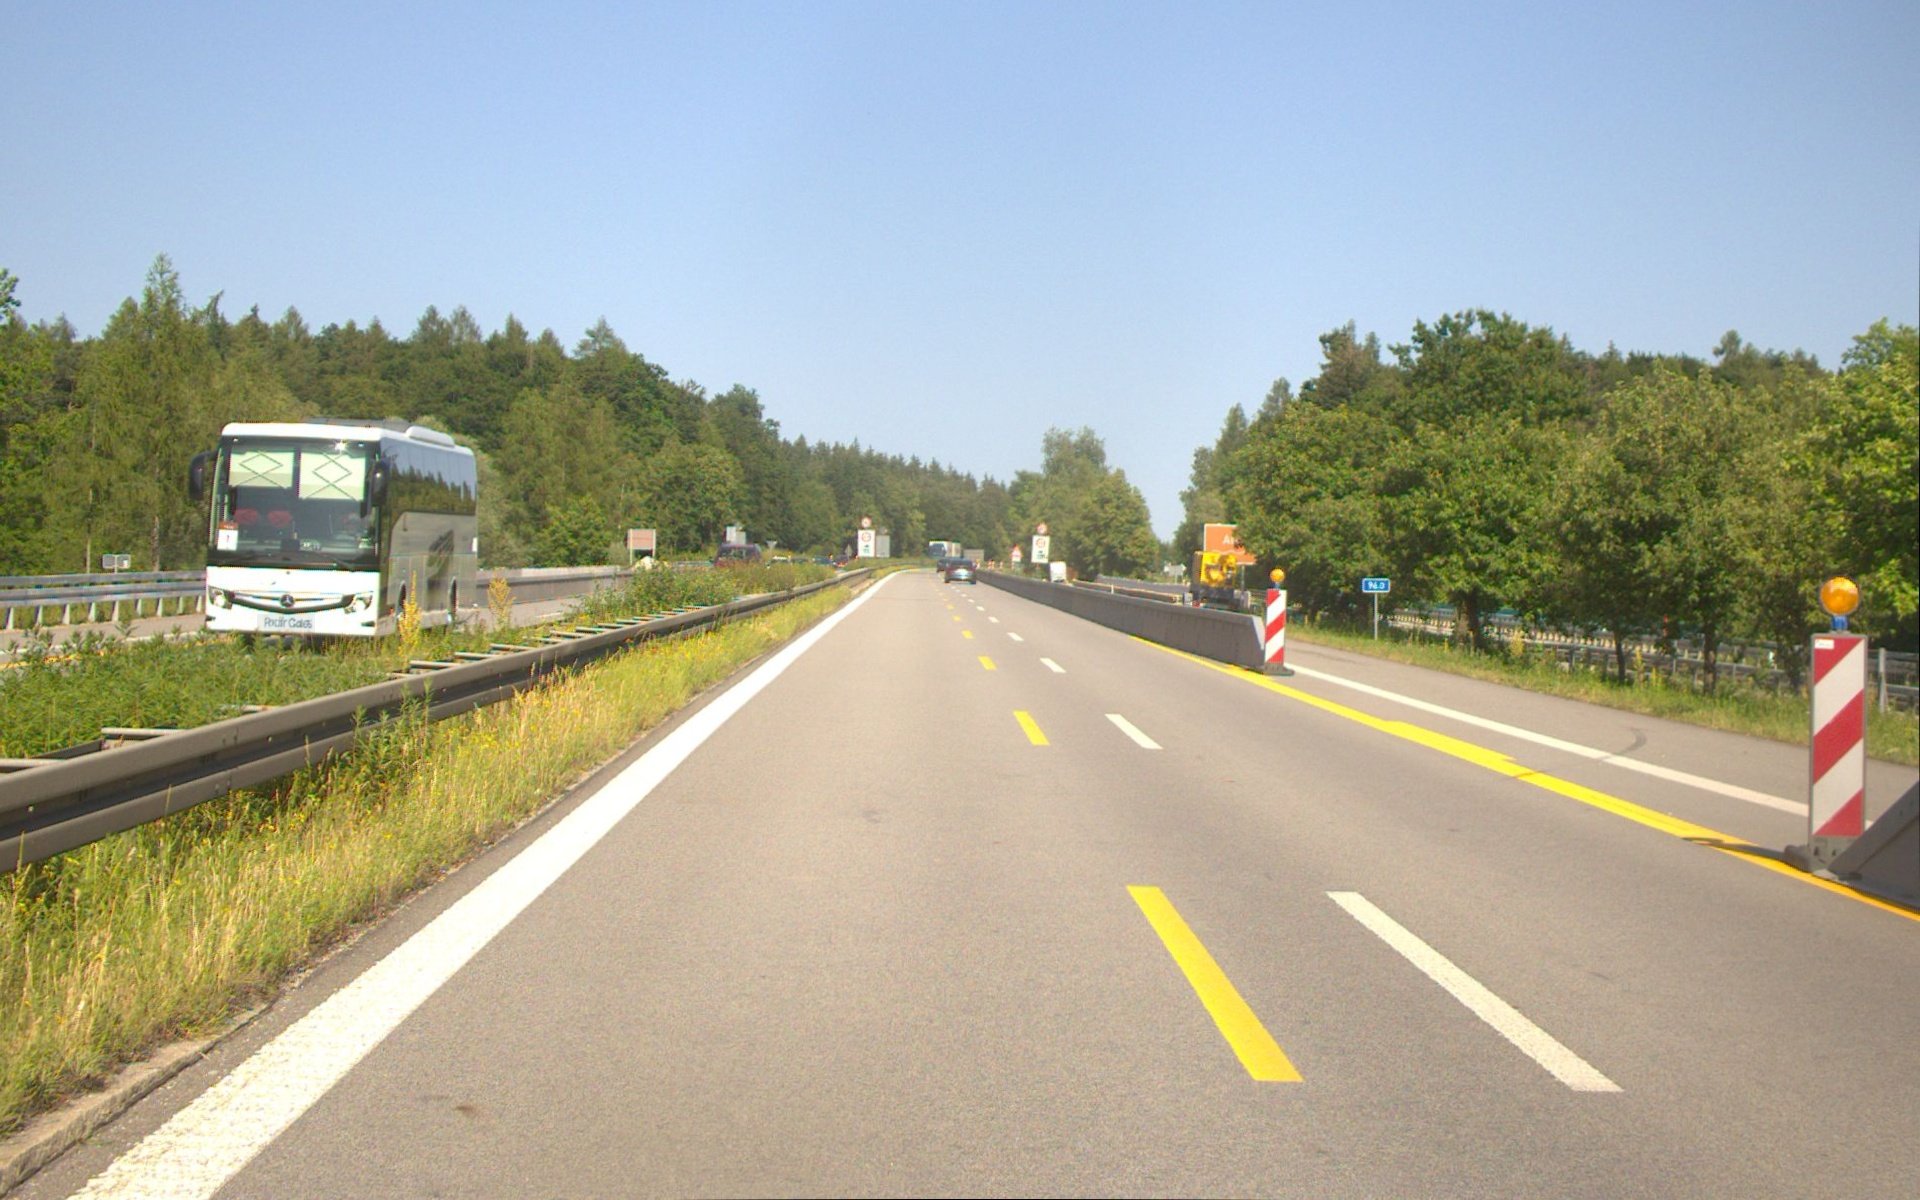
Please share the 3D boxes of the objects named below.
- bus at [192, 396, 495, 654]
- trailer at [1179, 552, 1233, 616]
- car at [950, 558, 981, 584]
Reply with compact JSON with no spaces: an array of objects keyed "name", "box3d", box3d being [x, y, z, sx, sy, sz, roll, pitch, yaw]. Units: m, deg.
[{"name":"bus","box3d":[-9.813,-1.178,56.328,2.881,3.658,12.919,2,1,-1]},{"name":"trailer","box3d":[7.445,-0.498,104.298,1.125,1.867,4.001,1,1,-3]},{"name":"car","box3d":[0.334,-1.705,201.624,1.744,1.461,4.294,1,1,-1]}]
